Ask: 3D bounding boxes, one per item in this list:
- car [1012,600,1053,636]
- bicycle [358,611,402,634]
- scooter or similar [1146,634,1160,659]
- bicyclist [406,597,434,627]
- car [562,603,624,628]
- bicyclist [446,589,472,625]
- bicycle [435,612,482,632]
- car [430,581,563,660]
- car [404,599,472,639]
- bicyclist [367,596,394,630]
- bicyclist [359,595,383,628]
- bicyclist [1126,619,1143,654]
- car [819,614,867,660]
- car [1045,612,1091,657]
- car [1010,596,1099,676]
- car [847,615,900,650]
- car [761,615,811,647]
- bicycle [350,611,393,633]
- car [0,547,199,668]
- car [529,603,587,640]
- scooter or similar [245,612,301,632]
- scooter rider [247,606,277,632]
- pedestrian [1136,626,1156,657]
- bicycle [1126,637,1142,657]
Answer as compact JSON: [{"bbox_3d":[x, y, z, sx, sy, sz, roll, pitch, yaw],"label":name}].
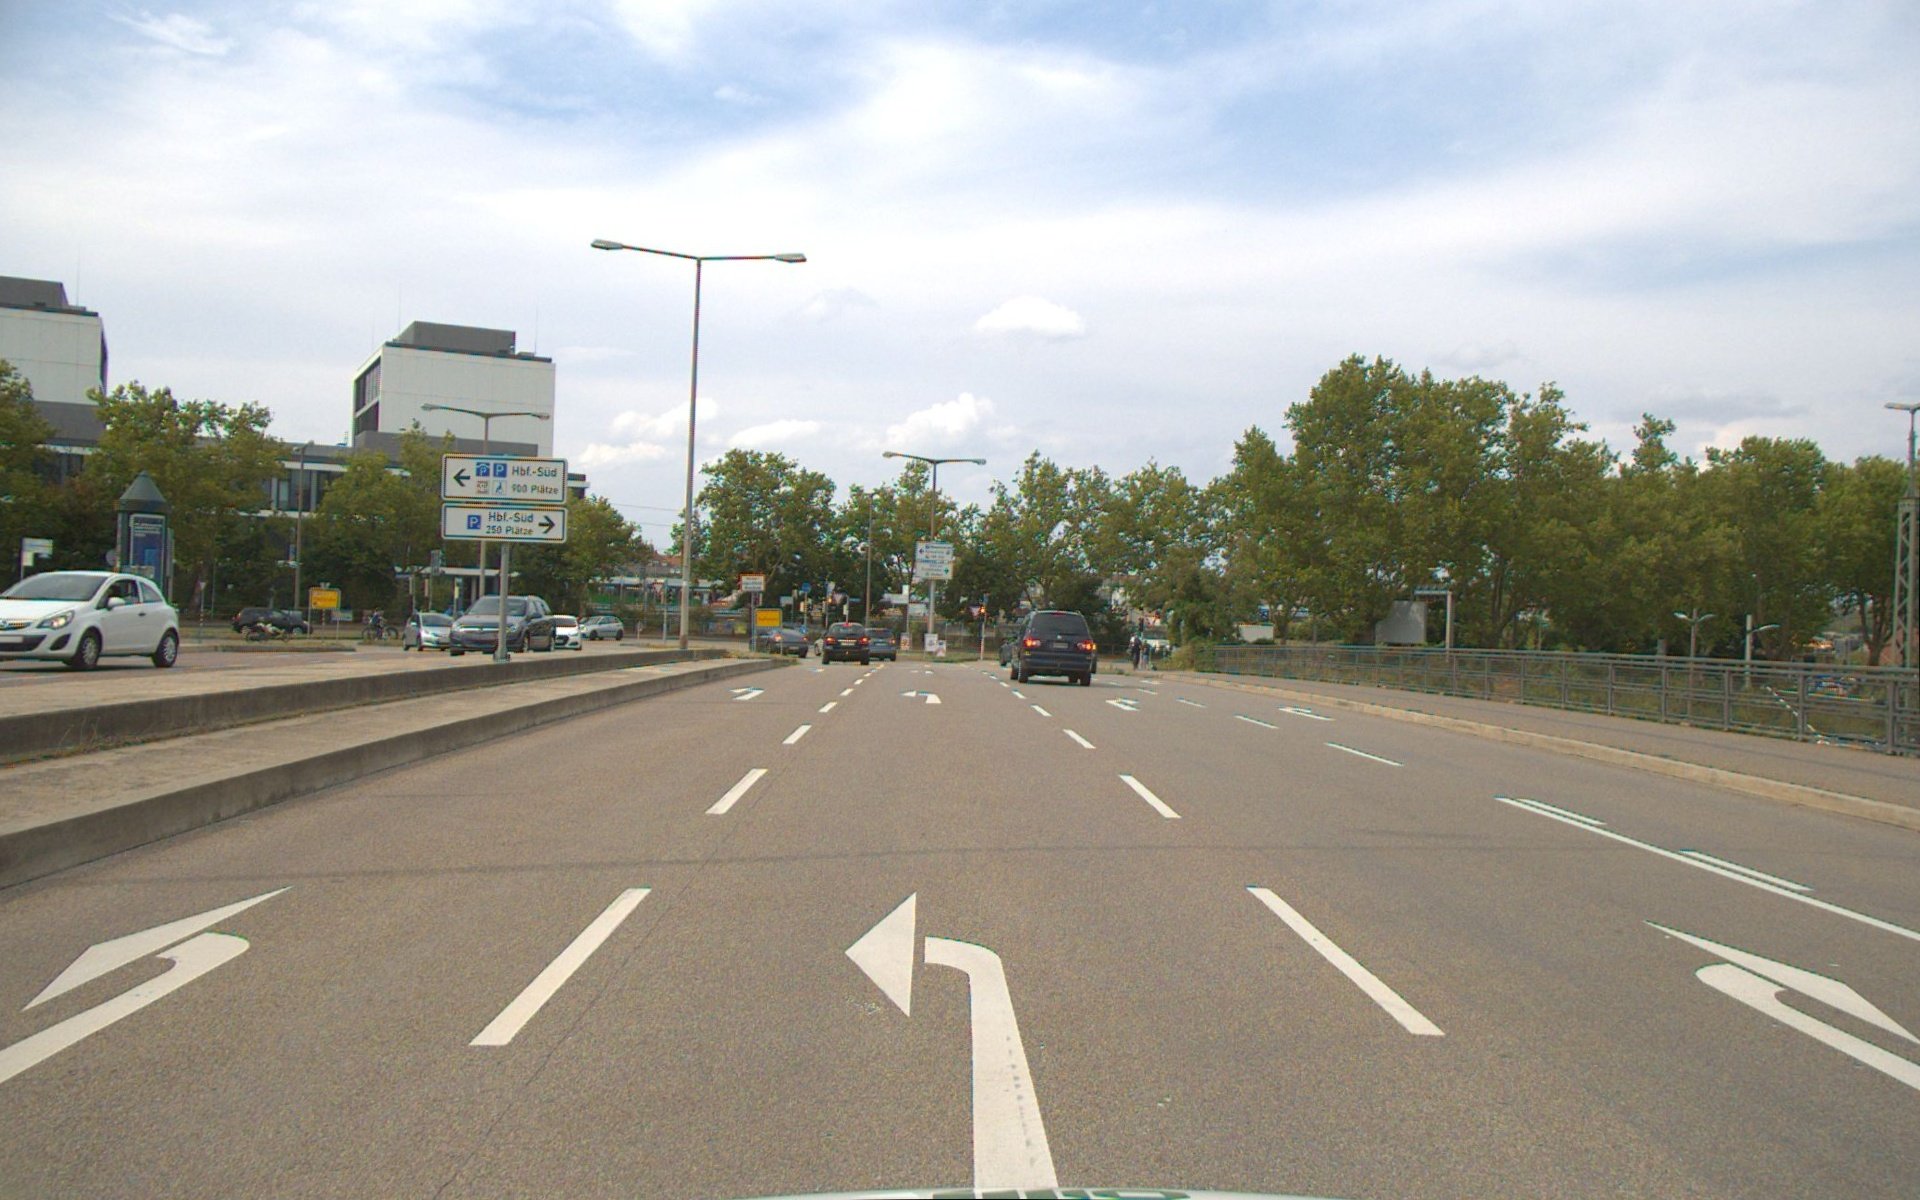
[{"bbox_3d":[3.560,0.915,82.009,1.656,1.613,4.154,4,-2,-2],"label":"car"},{"bbox_3d":[-27.683,1.086,78.969,0.618,1.031,1.894,1,-1,44],"label":"bicycle"},{"bbox_3d":[9.679,2.337,83.056,0.389,1.204,1.278,2,-2,-8],"label":"scooter or similar"},{"bbox_3d":[-26.604,0.591,81.462,0.635,1.461,1.113,1,0,35],"label":"bicyclist"},{"bbox_3d":[-22.332,0.972,100.878,1.585,1.435,3.855,0,-2,27],"label":"car"},{"bbox_3d":[-24.488,0.346,80.798,0.794,1.685,0.882,1,-1,31],"label":"bicyclist"},{"bbox_3d":[-24.497,1.082,80.780,0.794,0.969,2.230,1,-1,31],"label":"bicycle"},{"bbox_3d":[-10.781,0.464,38.817,1.849,1.668,4.583,2,0,-1],"label":"car"},{"bbox_3d":[-21.065,0.737,66.588,1.895,1.553,4.839,1,0,-26],"label":"car"},{"bbox_3d":[-27.682,0.625,78.953,0.618,1.566,1.012,1,-1,44],"label":"bicyclist"},{"bbox_3d":[-28.311,0.575,79.507,0.617,1.556,0.836,1,-1,43],"label":"bicyclist"},{"bbox_3d":[8.915,1.862,84.590,0.793,1.726,1.116,1,-1,6],"label":"bicyclist"},{"bbox_3d":[-4.509,1.390,63.742,1.722,1.603,4.033,2,0,-4],"label":"car"},{"bbox_3d":[4.402,1.426,67.767,1.714,1.672,4.139,3,-2,3],"label":"car"},{"bbox_3d":[2.264,0.882,40.447,1.715,1.755,4.135,4,-2,-2],"label":"car"},{"bbox_3d":[-4.199,1.559,79.737,1.713,1.573,4.064,2,-1,-16],"label":"car"},{"bbox_3d":[-8.650,1.526,81.964,1.787,1.439,4.759,2,-1,-14],"label":"car"},{"bbox_3d":[-28.296,1.070,79.536,0.617,1.031,1.895,1,-1,43],"label":"bicycle"},{"bbox_3d":[-13.500,0.097,25.314,1.849,1.668,4.216,2,0,-2],"label":"car"},{"bbox_3d":[-16.047,0.840,65.917,1.889,1.440,4.856,1,0,-18],"label":"car"},{"bbox_3d":[-31.338,1.012,75.471,0.791,0.864,2.381,1,-1,30],"label":"scooter or similar"},{"bbox_3d":[-31.632,0.848,74.974,0.791,1.157,0.915,1,-1,31],"label":"scooter rider"},{"bbox_3d":[10.763,2.390,95.502,1.025,1.740,0.854,2,-1,9],"label":"pedestrian"},{"bbox_3d":[8.898,2.384,84.578,0.792,0.969,2.237,1,-1,6],"label":"bicycle"}]
